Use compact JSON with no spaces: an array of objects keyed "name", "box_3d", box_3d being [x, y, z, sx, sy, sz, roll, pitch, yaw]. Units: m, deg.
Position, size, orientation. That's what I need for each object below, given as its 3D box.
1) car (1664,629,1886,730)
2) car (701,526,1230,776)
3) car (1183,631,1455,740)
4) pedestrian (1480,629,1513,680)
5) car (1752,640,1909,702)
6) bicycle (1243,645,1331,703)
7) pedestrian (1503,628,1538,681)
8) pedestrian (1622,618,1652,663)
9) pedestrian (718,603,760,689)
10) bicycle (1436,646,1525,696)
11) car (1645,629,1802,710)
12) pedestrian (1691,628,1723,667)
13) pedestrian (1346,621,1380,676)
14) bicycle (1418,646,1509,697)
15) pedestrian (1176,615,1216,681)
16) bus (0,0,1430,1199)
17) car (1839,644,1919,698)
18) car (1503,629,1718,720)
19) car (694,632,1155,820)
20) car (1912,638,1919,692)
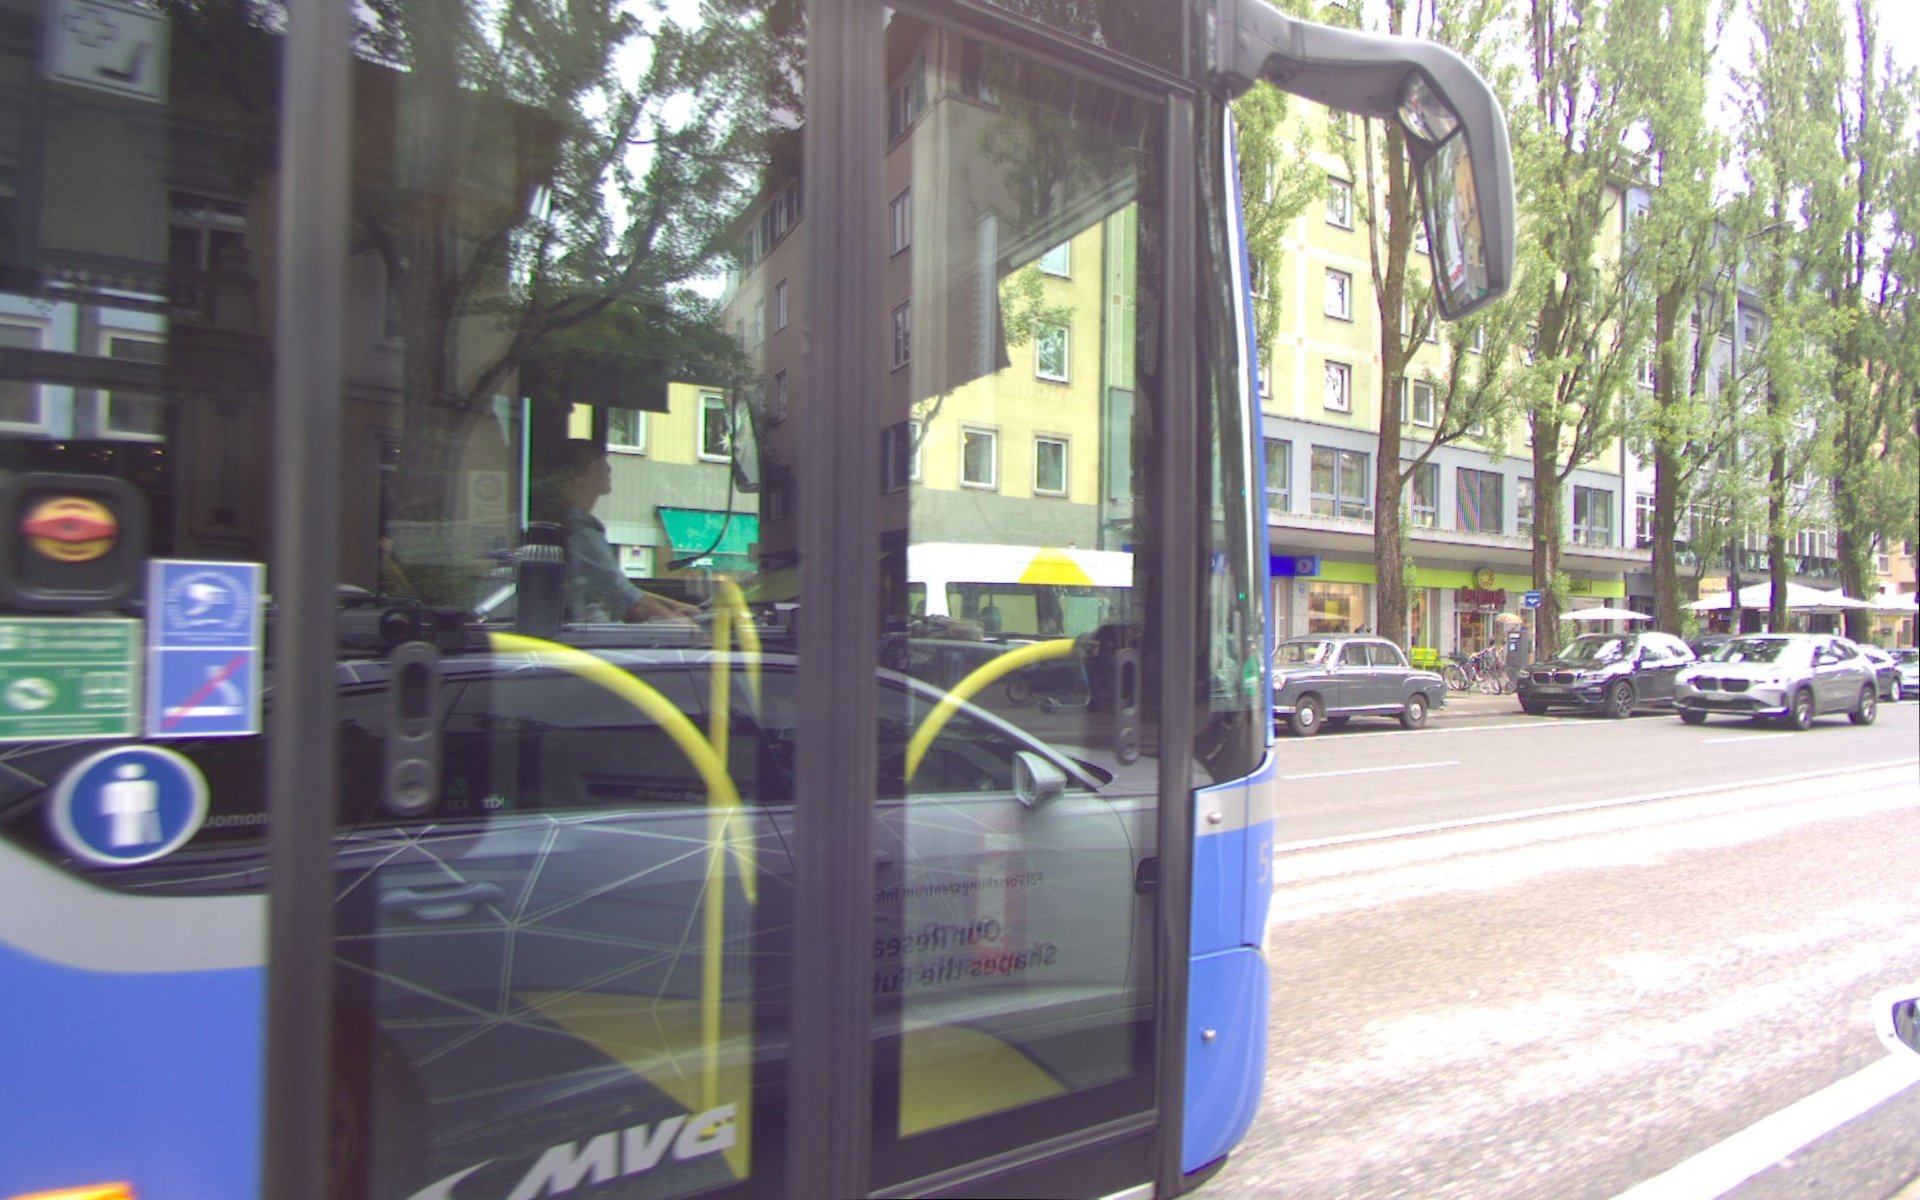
[{"name":"car","box_3d":[14.937,1.382,18.355,4.405,1.656,1.762,2,-3,-31]},{"name":"car","box_3d":[0.298,0.654,13.056,6.831,2.601,1.996,2,-3,-30]},{"name":"car","box_3d":[5.931,1.333,16.497,4.362,1.572,1.858,2,-3,-30]},{"name":"pedestrian","box_3d":[18.020,1.824,33.724,0.667,1.708,0.753,2,-3,-28]},{"name":"car","box_3d":[22.736,1.821,26.219,4.299,1.508,1.790,2,-3,-30]},{"name":"bicycle","box_3d":[7.187,1.602,22.166,0.710,1.110,1.862,1,1,-27]},{"name":"pedestrian","box_3d":[18.429,1.797,33.041,0.667,1.708,0.753,2,-3,-28]},{"name":"pedestrian","box_3d":[26.468,1.591,39.263,0.667,1.708,0.753,2,-3,-29]},{"name":"pedestrian","box_3d":[-4.336,0.902,19.737,0.713,1.657,0.699,1,-2,-6]},{"name":"bicycle","box_3d":[13.498,1.817,26.097,0.712,1.110,1.933,1,1,-35]},{"name":"car","box_3d":[17.876,1.589,23.489,3.880,1.743,1.700,2,-3,-33]},{"name":"pedestrian","box_3d":[28.579,1.820,38.437,0.792,1.428,0.760,2,0,-34]},{"name":"pedestrian","box_3d":[12.680,1.526,31.620,0.749,1.708,0.670,2,-3,-29]},{"name":"bicycle","box_3d":[12.821,1.796,25.626,0.712,1.110,1.933,1,1,-35]},{"name":"pedestrian","box_3d":[6.134,1.250,26.149,0.667,1.708,0.753,2,-3,-29]},{"name":"bus","box_3d":[-3.958,-0.208,0.691,9.936,2.988,2.676,2,-2,-31]},{"name":"car","box_3d":[27.107,1.985,28.729,4.095,1.444,1.725,2,-3,-30]},{"name":"car","box_3d":[13.426,1.481,20.672,4.557,1.686,1.858,2,-3,-30]},{"name":"car","box_3d":[-0.262,1.053,9.580,4.082,1.453,1.737,2,-3,-31]},{"name":"car","box_3d":[31.990,2.032,31.546,4.349,1.687,1.858,2,-3,-30]}]
